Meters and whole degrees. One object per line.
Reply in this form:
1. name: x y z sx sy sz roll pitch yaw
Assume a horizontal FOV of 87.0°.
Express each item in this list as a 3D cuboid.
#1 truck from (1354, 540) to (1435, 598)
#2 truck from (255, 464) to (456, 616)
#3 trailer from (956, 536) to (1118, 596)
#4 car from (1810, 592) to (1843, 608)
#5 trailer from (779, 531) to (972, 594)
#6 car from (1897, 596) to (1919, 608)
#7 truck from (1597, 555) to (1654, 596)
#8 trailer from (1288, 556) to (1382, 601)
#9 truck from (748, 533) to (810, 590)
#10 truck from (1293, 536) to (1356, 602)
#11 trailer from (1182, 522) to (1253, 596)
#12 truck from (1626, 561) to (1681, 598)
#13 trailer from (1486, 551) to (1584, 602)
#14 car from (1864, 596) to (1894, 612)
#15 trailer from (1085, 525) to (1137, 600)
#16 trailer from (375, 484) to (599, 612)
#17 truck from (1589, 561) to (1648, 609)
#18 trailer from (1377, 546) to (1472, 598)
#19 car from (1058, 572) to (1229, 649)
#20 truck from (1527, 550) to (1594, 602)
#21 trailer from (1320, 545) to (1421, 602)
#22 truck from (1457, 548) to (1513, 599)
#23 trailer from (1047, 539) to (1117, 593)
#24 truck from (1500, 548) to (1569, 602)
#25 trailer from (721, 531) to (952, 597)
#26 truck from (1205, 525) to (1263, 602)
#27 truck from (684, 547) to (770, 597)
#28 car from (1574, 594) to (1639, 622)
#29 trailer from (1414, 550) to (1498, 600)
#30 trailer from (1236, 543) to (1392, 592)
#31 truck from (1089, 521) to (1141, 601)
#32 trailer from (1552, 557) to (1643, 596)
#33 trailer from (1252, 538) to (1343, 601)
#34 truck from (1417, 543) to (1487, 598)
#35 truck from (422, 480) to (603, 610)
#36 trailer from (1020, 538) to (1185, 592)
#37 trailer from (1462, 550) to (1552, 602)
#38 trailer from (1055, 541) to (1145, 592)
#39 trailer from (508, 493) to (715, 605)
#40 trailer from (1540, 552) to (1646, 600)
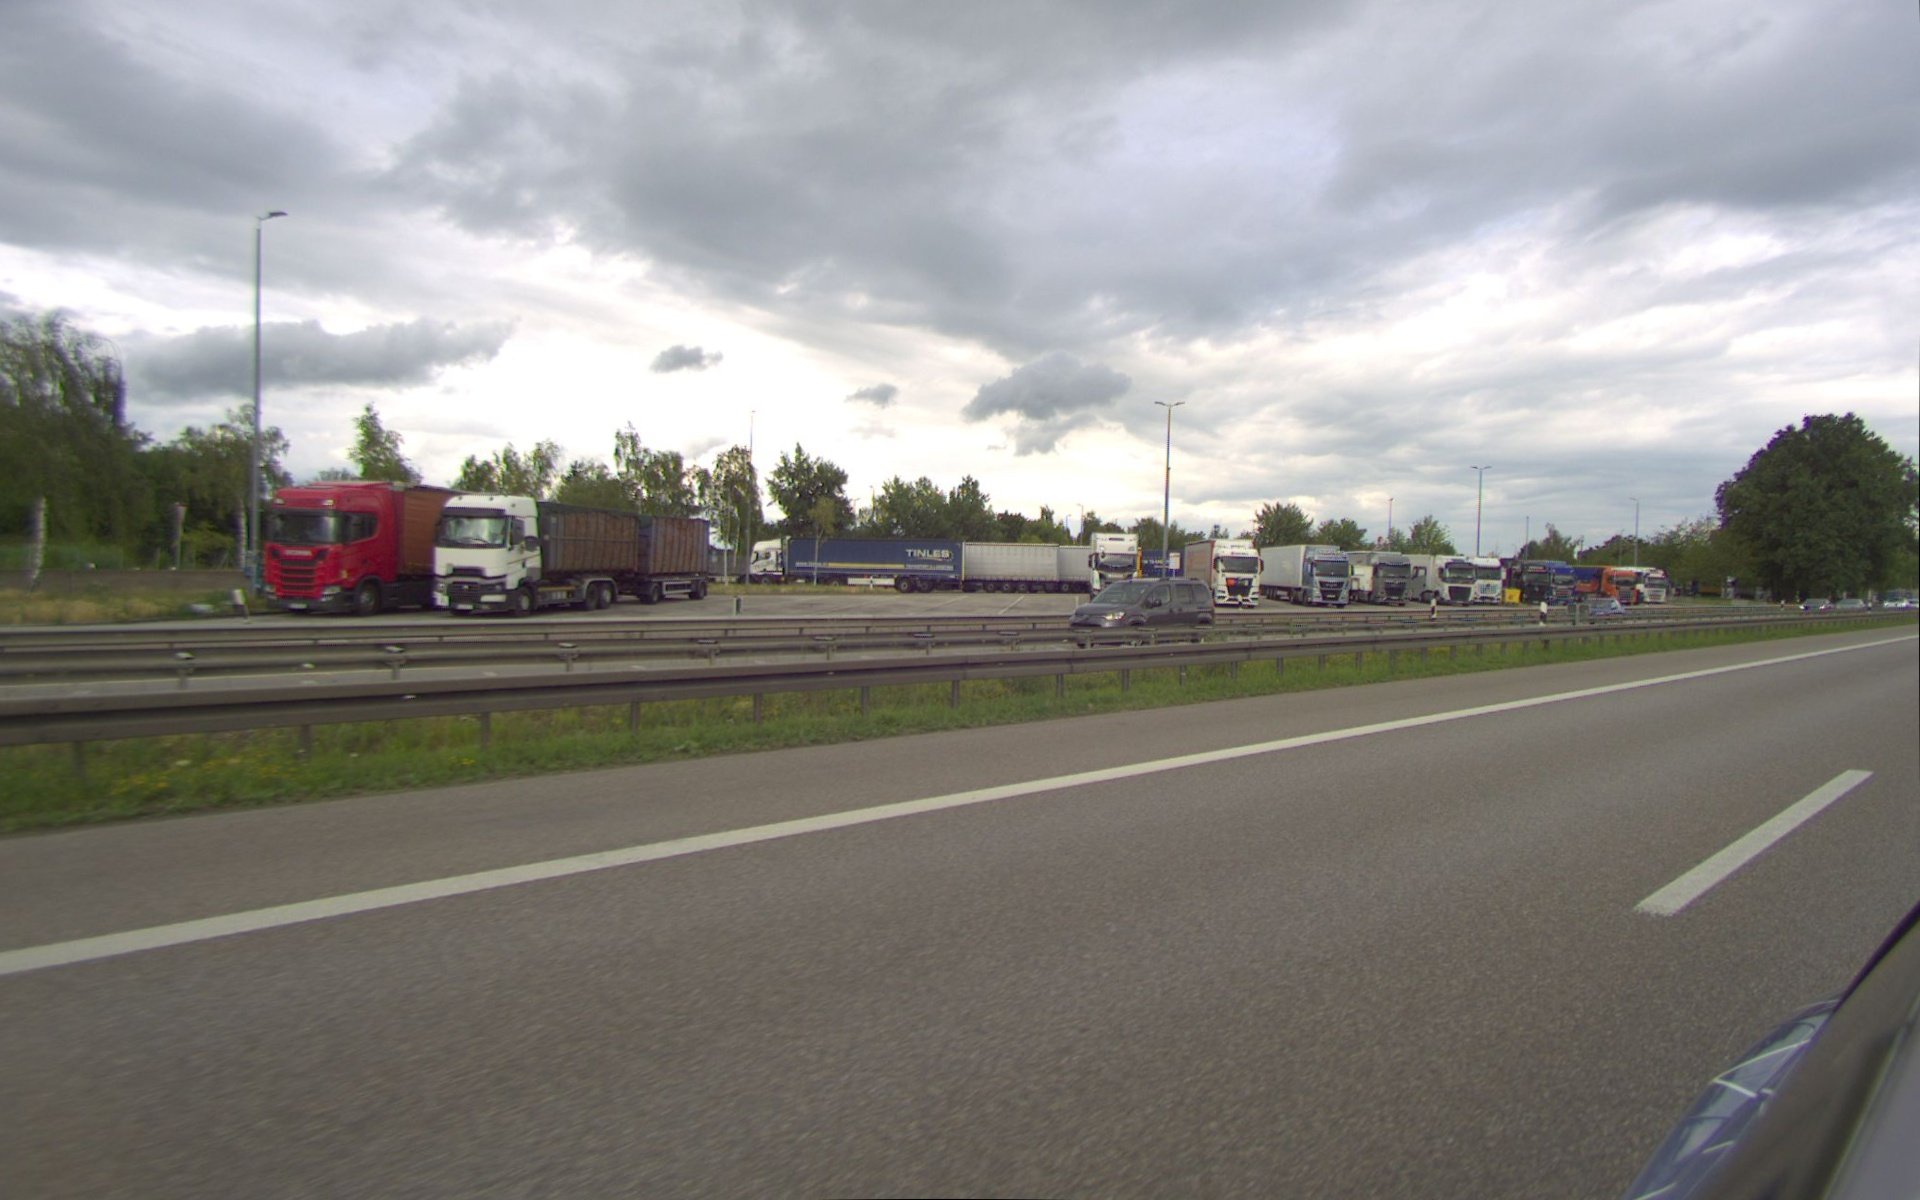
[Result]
1. truck: 32.697 -2.268 76.546 3.486 4.136 7.642 0 0 6
2. truck: -18.704 -1.729 31.751 2.547 4.307 5.684 0 0 6
3. trailer: 6.091 -2.677 80.893 12.643 4.336 2.628 2 0 3
4. car: 71.008 -0.009 82.926 3.930 1.230 1.465 0 2 -41
5. trailer: -6.239 -2.767 75.973 14.141 4.444 2.949 0 0 5
6. car: 105.035 0.212 111.757 3.810 1.258 1.827 0 2 -41
7. truck: 70.720 -2.506 107.628 2.623 4.201 5.920 0 0 7
8. trailer: 28.687 -1.531 78.266 3.533 3.150 13.724 0 0 6
9. truck: -13.667 -2.863 76.593 4.050 4.210 2.942 0 0 5
10. truck: 23.874 -1.978 66.463 2.593 4.183 4.790 0 0 4
11. trailer: 16.945 -2.488 67.603 2.435 4.451 14.121 0 0 6
12. truck: 79.318 -2.312 115.857 2.781 4.112 6.429 0 0 11
13. trailer: 56.219 -2.186 99.550 3.010 4.637 13.635 0 0 6
14. car: 80.099 0.335 88.186 3.930 1.322 1.412 0 2 -41
15. trailer: 9.144 -2.091 62.421 2.568 4.126 13.521 0 0 6
16. trailer: -17.913 -1.850 39.613 2.553 4.278 11.092 0 1 6
17. truck: 66.167 -1.438 101.808 2.827 4.683 5.165 0 0 5
18. trailer: 40.293 -2.268 88.683 2.806 4.156 15.860 0 0 7
19. car: 4.725 0.213 25.661 4.513 1.778 1.832 0 2 -41
20. truck: 55.665 -2.156 93.958 3.007 4.614 6.076 0 0 6
21. trailer: 33.397 -2.029 83.289 3.469 4.187 15.552 0 0 6
22. truck: 43.757 -2.159 84.490 2.651 4.107 4.787 0 0 8
23. trailer: 10.114 -2.788 84.065 5.532 4.348 1.999 1 1 2
24. truck: 51.438 -2.171 90.764 3.113 4.614 6.076 0 0 6
25. trailer: -8.753 -2.536 72.601 16.201 4.444 2.634 0 0 2
26. truck: 16.295 -2.119 60.452 2.467 4.382 4.899 0 0 5
27. truck: -16.762 -2.011 72.993 5.528 3.483 2.656 0 0 3
28. car: 31.652 0.375 49.526 3.484 1.274 1.795 -1 0 -41
29. trailer: 44.801 -2.129 92.042 2.607 4.145 13.769 0 0 8
30. trailer: 35.529 -3.213 102.080 14.395 4.701 3.155 0 0 5
31. truck: 8.420 -2.053 55.394 2.569 4.187 4.526 0 0 6
32. trailer: 71.363 -2.502 113.878 2.617 4.165 14.046 0 0 6
33. trailer: 24.363 -2.022 73.962 2.610 4.136 14.681 0 0 4
34. truck: 39.409 -2.267 81.293 2.836 4.187 6.958 0 0 7
35. truck: -14.708 -1.765 33.844 2.709 3.897 6.384 1 1 6
36. trailer: 12.908 -3.149 92.883 14.783 4.701 2.870 0 0 5
37. trailer: 52.134 -2.208 97.021 3.109 4.650 12.388 0 0 7
38. trailer: 12.199 -2.914 88.768 7.596 4.348 1.999 1 1 2
39. trailer: -13.839 -1.960 42.106 2.701 3.889 13.187 1 1 7
40. trailer: 66.739 -2.395 107.404 2.814 4.737 15.785 0 0 6
